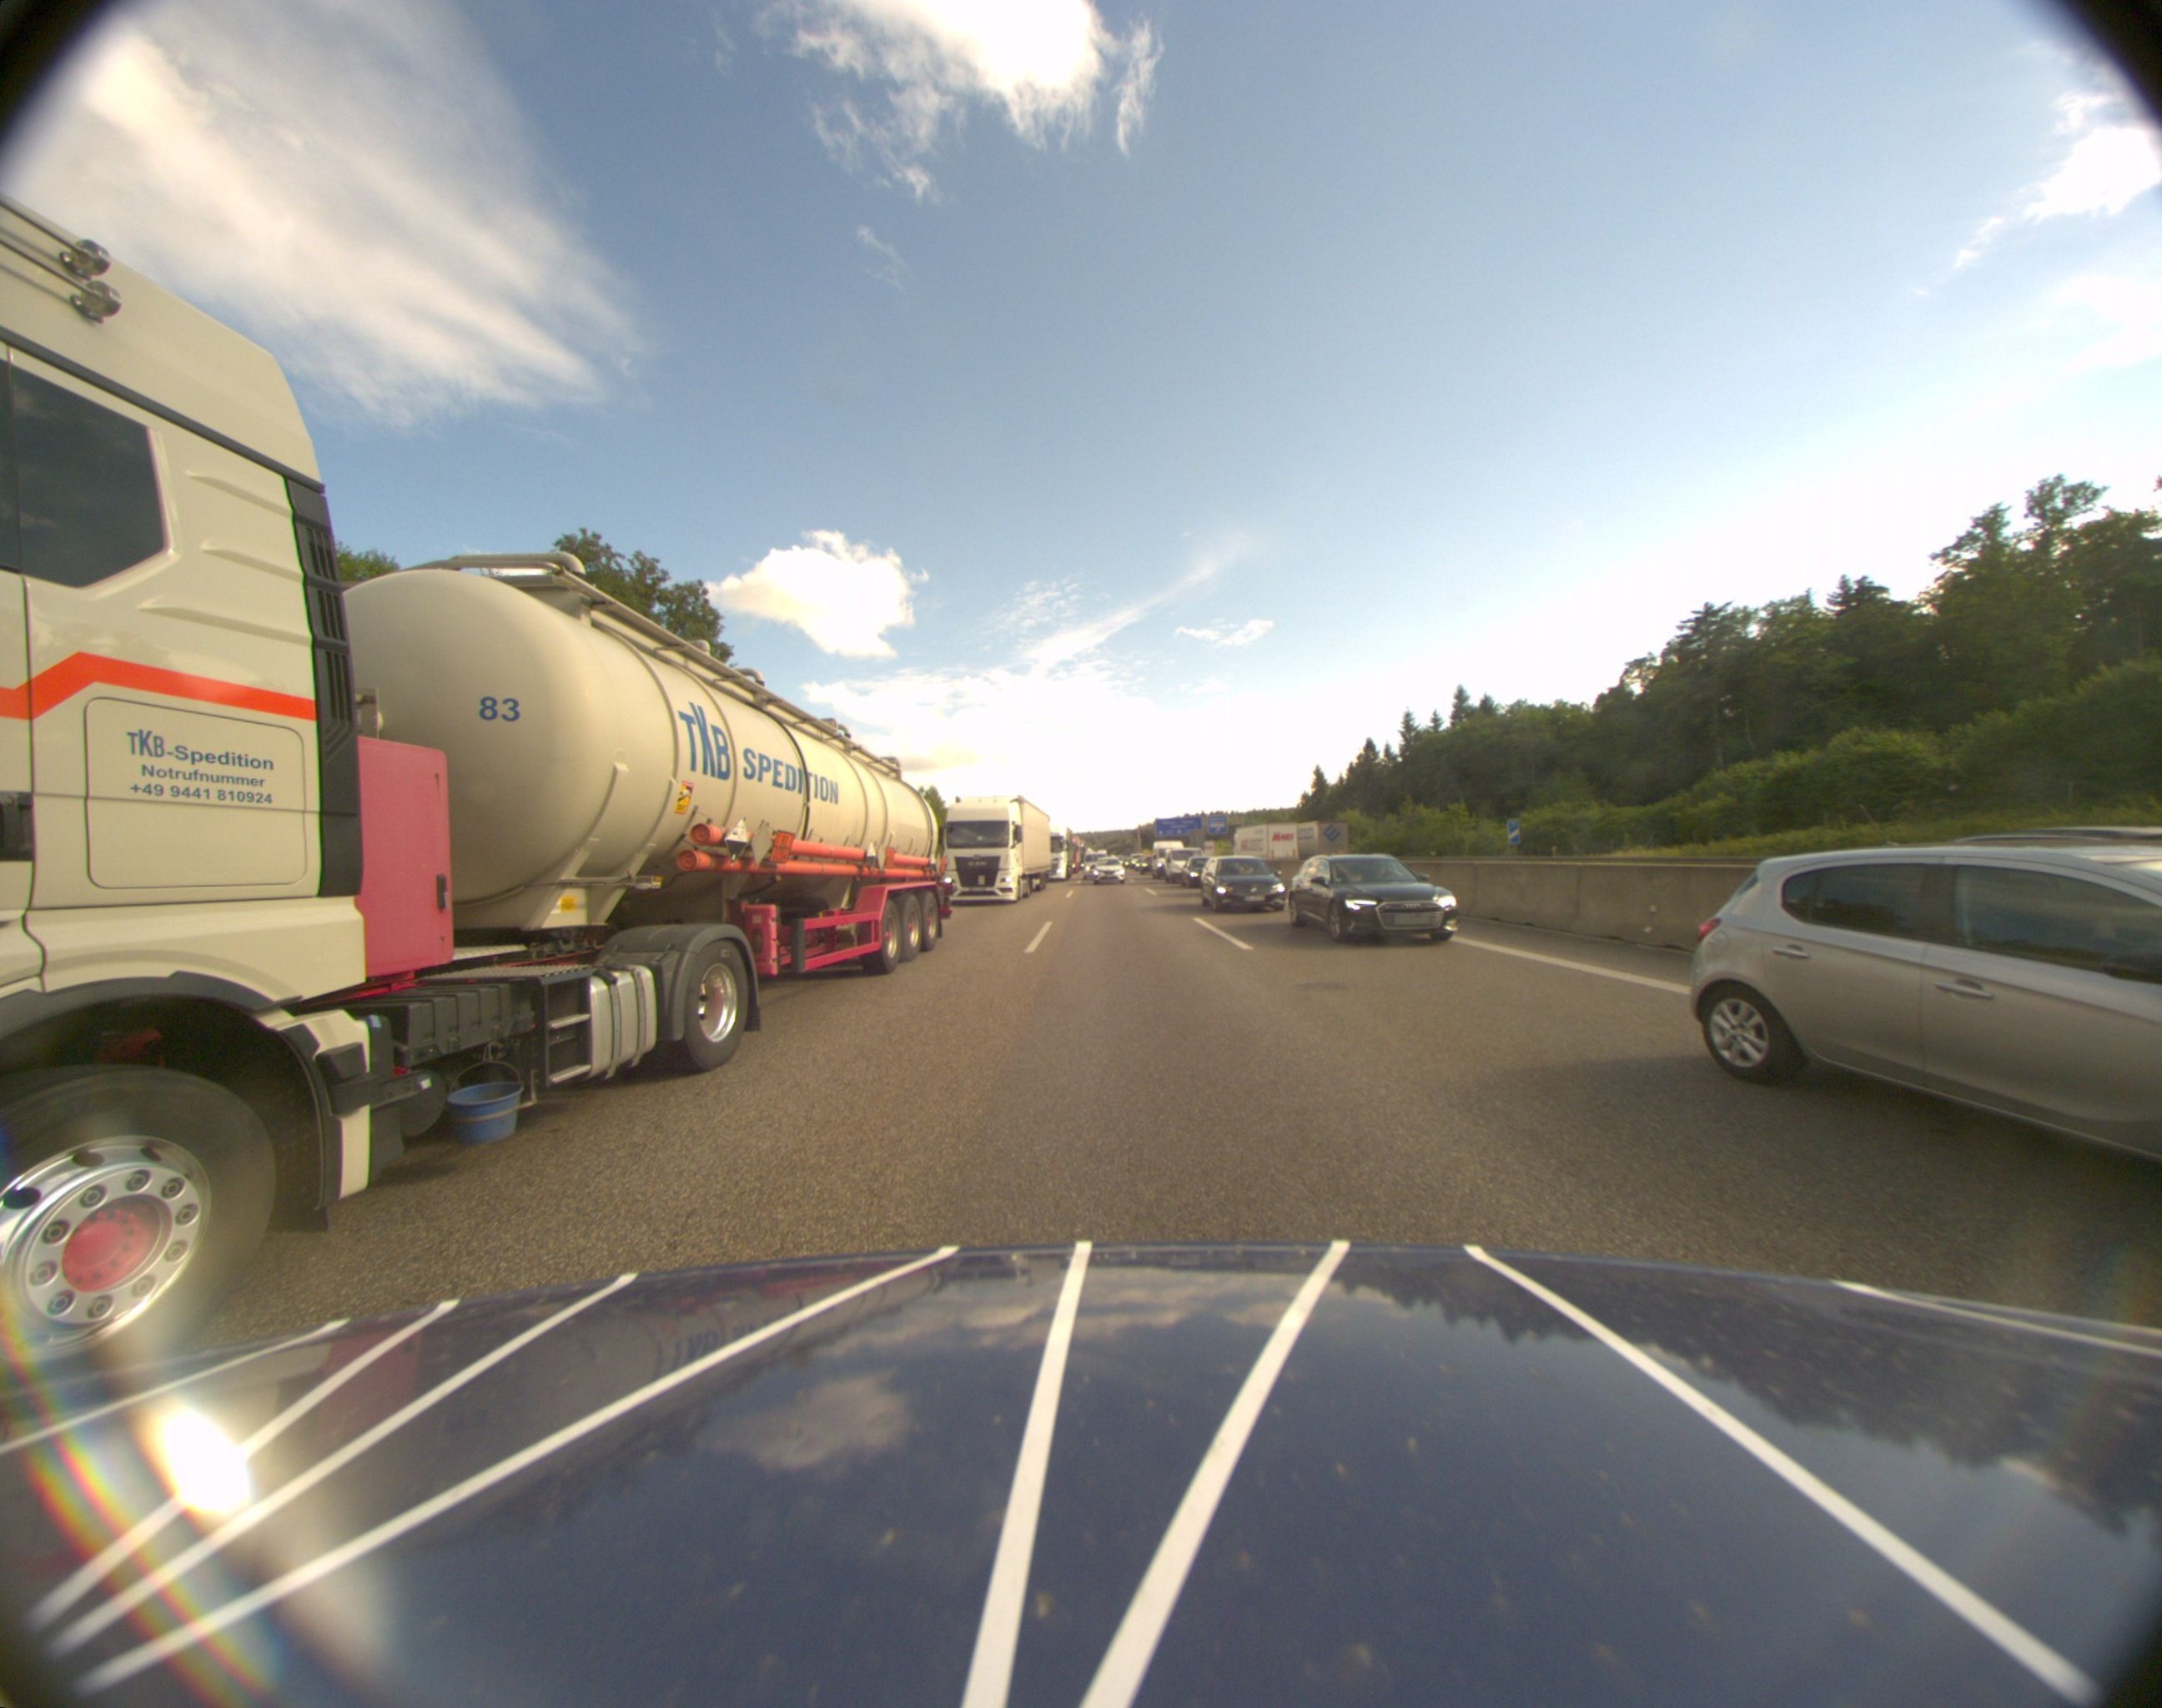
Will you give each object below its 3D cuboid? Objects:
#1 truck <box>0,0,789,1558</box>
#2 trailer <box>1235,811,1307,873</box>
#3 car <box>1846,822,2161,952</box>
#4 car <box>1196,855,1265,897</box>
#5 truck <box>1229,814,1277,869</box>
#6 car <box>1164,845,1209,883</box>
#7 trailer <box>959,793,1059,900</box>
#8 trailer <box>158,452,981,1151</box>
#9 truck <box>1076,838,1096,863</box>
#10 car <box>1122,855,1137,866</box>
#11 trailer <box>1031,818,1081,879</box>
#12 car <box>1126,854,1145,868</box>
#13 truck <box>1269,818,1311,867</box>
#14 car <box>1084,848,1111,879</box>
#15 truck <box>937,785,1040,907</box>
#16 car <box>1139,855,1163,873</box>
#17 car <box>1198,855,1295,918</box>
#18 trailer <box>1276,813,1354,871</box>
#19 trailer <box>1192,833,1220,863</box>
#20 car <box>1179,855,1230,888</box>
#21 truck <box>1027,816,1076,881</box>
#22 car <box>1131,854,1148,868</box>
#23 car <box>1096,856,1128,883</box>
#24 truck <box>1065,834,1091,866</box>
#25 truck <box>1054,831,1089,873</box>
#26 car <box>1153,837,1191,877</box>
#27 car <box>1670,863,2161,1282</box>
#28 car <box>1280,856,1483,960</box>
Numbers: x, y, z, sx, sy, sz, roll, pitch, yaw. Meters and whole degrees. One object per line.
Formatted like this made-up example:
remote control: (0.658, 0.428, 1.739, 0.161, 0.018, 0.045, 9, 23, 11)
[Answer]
truck: (-4.023, -0.266, 3.422, 2.809, 4.020, 5.904, -2, 0, 2)
trailer: (17.091, -1.077, 69.627, 3.096, 5.044, 13.833, -2, 1, 1)
car: (16.071, 0.438, 12.734, 1.857, 1.799, 4.624, -2, 0, 1)
car: (5.664, 0.793, 29.339, 1.809, 1.423, 4.667, -2, 0, 2)
truck: (17.160, -1.232, 76.392, 3.096, 5.071, 7.141, -2, 1, 1)
car: (5.943, 0.536, 43.211, 1.947, 1.953, 4.848, -2, 0, 2)
trailer: (-2.987, -0.306, 36.083, 2.832, 4.047, 13.373, -2, 0, 2)
trailer: (-3.746, -0.296, 10.035, 2.805, 4.003, 11.183, -2, 0, 2)
truck: (1.028, -0.590, 135.962, 2.840, 4.178, 12.046, -2, 1, 3)
car: (6.919, 0.906, 109.191, 1.920, 1.535, 3.811, -2, 0, 2)
trailer: (-1.750, -0.368, 60.055, 2.841, 4.177, 13.614, -2, 0, 2)
car: (5.854, 0.744, 82.297, 1.809, 1.423, 3.660, -2, 0, 2)
truck: (21.753, -1.207, 79.210, 2.939, 4.830, 4.765, -2, 1, 1)
car: (1.214, 0.654, 55.396, 1.809, 2.052, 4.770, -2, 0, 2)
truck: (-3.293, -0.272, 28.660, 2.840, 4.048, 5.708, -2, 0, 2)
car: (5.893, 0.819, 64.315, 1.809, 1.423, 3.660, -2, 0, 2)
car: (4.426, 0.812, 21.024, 1.915, 1.469, 4.569, -2, 0, 4)
trailer: (21.649, -1.063, 71.479, 2.934, 4.802, 14.652, -2, 1, 1)
trailer: (23.460, -1.063, 142.984, 3.050, 5.250, 13.834, -2, 1, 1)
car: (5.813, 0.786, 36.095, 1.809, 1.423, 3.994, -2, 0, 2)
truck: (-1.996, -0.369, 52.951, 2.841, 4.177, 5.708, -2, 0, 2)
car: (7.662, 0.926, 99.594, 1.920, 1.785, 3.811, -2, 0, 2)
car: (1.817, 0.866, 45.628, 1.809, 1.487, 4.667, -1, 0, 2)
truck: (-0.281, -0.641, 107.657, 2.840, 4.178, 12.046, -2, 1, 3)
truck: (-0.898, -0.254, 83.467, 2.840, 4.178, 12.046, -2, 1, 3)
car: (6.160, 0.216, 52.167, 2.054, 2.557, 5.862, -1, 0, 2)
car: (4.779, 0.803, 3.039, 1.751, 1.457, 4.041, -1, 0, 1)
car: (5.128, 0.818, 13.792, 1.887, 1.463, 4.852, -2, 0, 2)
